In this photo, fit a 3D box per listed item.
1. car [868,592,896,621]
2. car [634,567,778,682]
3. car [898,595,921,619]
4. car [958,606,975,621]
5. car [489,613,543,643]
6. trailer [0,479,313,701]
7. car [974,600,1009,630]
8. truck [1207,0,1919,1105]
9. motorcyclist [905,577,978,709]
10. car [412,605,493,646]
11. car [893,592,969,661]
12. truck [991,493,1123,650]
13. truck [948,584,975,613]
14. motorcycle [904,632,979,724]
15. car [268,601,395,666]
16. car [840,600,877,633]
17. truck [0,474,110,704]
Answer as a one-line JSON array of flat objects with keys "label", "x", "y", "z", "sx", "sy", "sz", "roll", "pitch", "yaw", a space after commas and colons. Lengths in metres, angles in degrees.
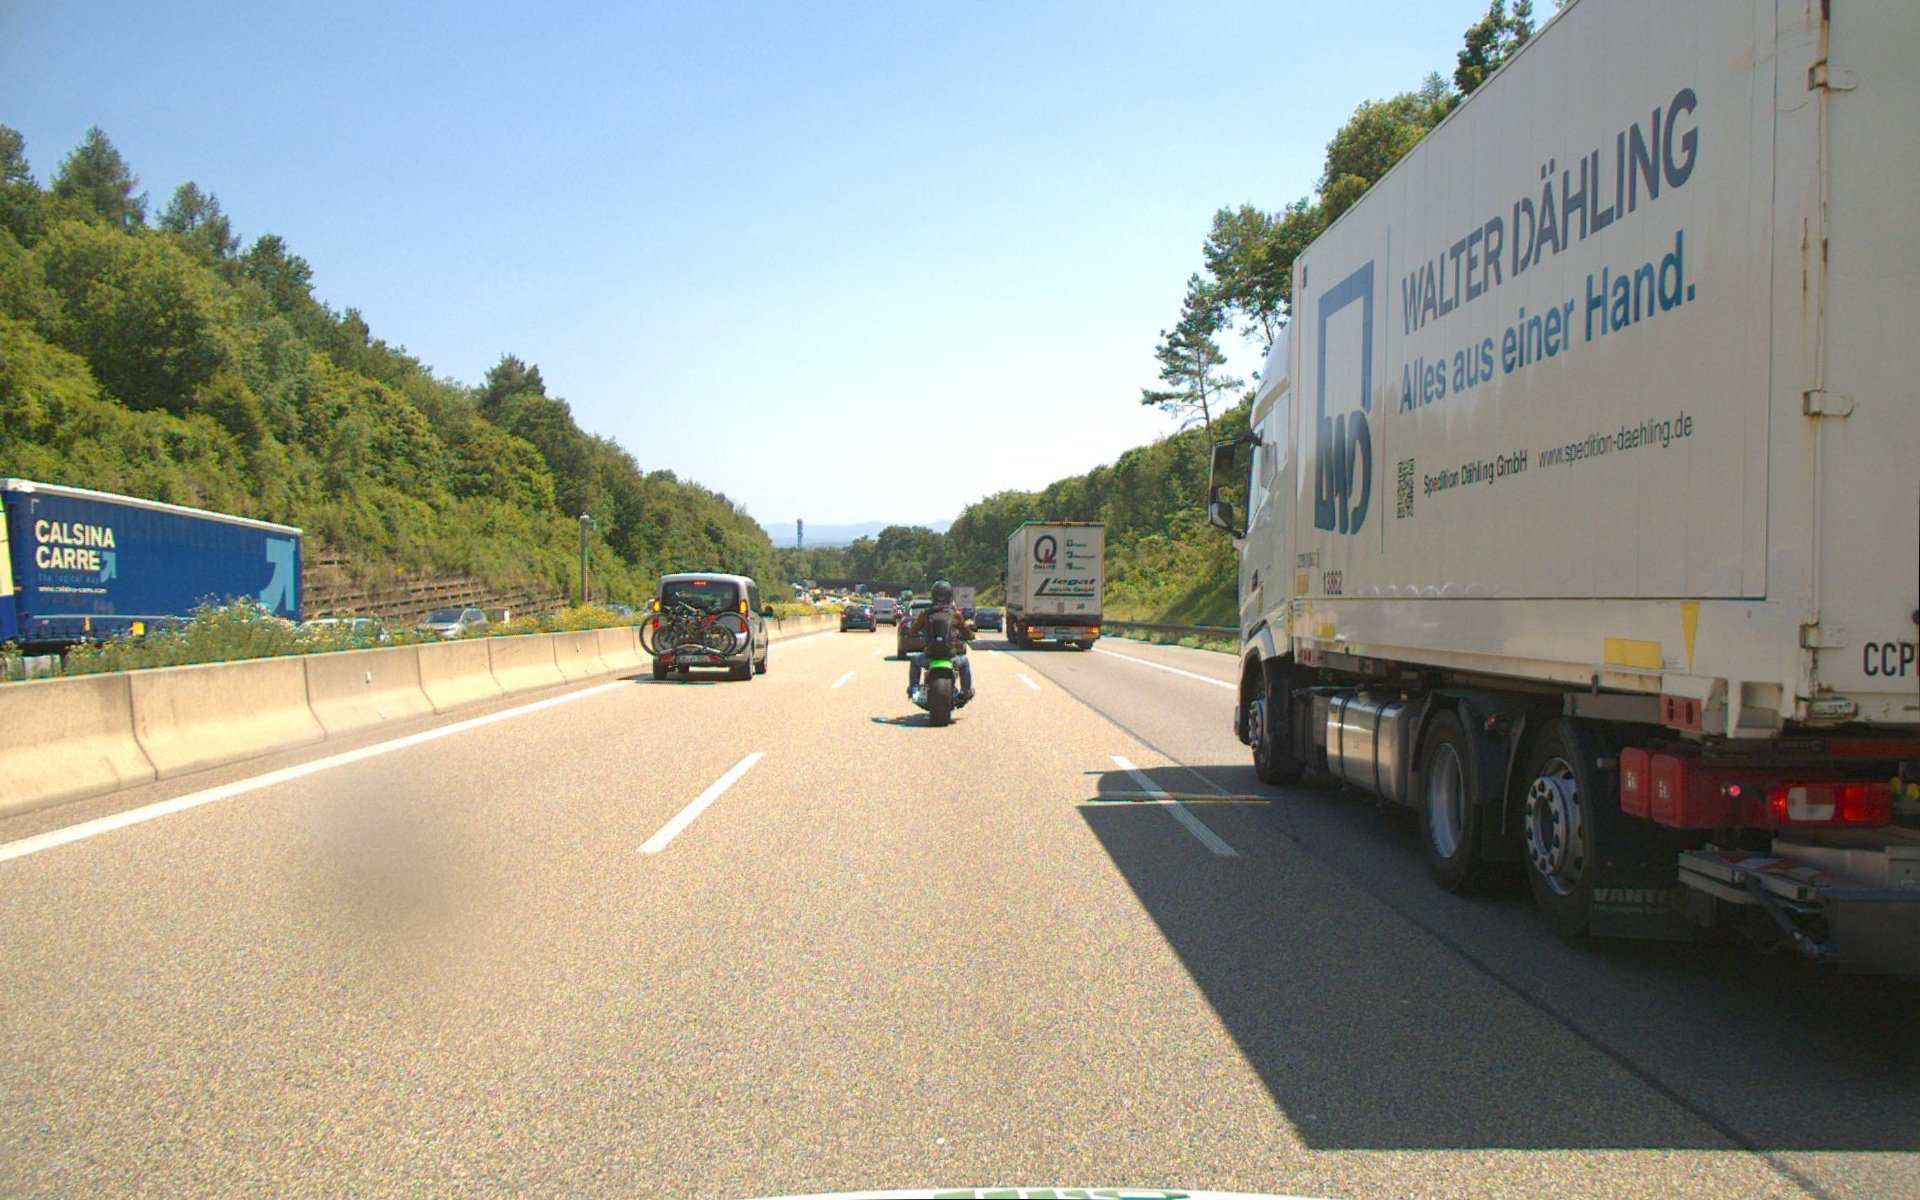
[{"label": "car", "x": -5.327, "y": 0.421, "z": 112.933, "sx": 1.794, "sy": 1.842, "sz": 4.119, "roll": 1, "pitch": 1, "yaw": -1}, {"label": "car", "x": -4.517, "y": 0.399, "z": 30.216, "sx": 1.860, "sy": 1.880, "sz": 5.481, "roll": 1, "pitch": 0, "yaw": -1}, {"label": "car", "x": -4.010, "y": 0.544, "z": 132.456, "sx": 1.794, "sy": 1.842, "sz": 4.119, "roll": 1, "pitch": 1, "yaw": -1}, {"label": "car", "x": 0.682, "y": 1.523, "z": 185.702, "sx": 1.794, "sy": 1.585, "sz": 4.119, "roll": 1, "pitch": 1, "yaw": -1}, {"label": "car", "x": -24.133, "y": 1.505, "z": 90.074, "sx": 1.898, "sy": 1.548, "sz": 4.202, "roll": -1, "pitch": 0, "yaw": -1}, {"label": "trailer", "x": -18.642, "y": -0.263, "z": 37.592, "sx": 2.626, "sy": 4.085, "sz": 14.185, "roll": 0, "pitch": 1, "yaw": -1}, {"label": "car", "x": 1.766, "y": 0.828, "z": 93.438, "sx": 1.794, "sy": 1.585, "sz": 4.119, "roll": 1, "pitch": 1, "yaw": -1}, {"label": "truck", "x": 3.775, "y": -0.627, "z": 10.168, "sx": 2.626, "sy": 4.130, "sz": 10.623, "roll": 1, "pitch": 1, "yaw": -1}, {"label": "motorcyclist", "x": -0.218, "y": 0.506, "z": 19.891, "sx": 0.838, "sy": 1.541, "sz": 0.914, "roll": 1, "pitch": 0, "yaw": 0}, {"label": "car", "x": -19.676, "y": 0.966, "z": 64.300, "sx": 1.624, "sy": 1.478, "sz": 4.922, "roll": 0, "pitch": 1, "yaw": 0}, {"label": "car", "x": -0.753, "y": 0.636, "z": 42.328, "sx": 1.808, "sy": 1.584, "sz": 4.438, "roll": 1, "pitch": 1, "yaw": -1}, {"label": "truck", "x": 3.211, "y": -0.978, "z": 60.770, "sx": 3.315, "sy": 4.800, "sz": 17.705, "roll": 2, "pitch": 1, "yaw": -1}, {"label": "truck", "x": 0.156, "y": -0.260, "z": 208.504, "sx": 3.005, "sy": 3.404, "sz": 9.650, "roll": 2, "pitch": 1, "yaw": -1}, {"label": "motorcycle", "x": -0.218, "y": 0.916, "z": 19.992, "sx": 0.844, "sy": 0.999, "sz": 2.130, "roll": 1, "pitch": 0, "yaw": 0}, {"label": "car", "x": -15.128, "y": 0.772, "z": 40.010, "sx": 1.624, "sy": 1.400, "sz": 3.711, "roll": 2, "pitch": 1, "yaw": 0}, {"label": "car", "x": -5.302, "y": 0.845, "z": 86.890, "sx": 1.722, "sy": 1.570, "sz": 4.394, "roll": 1, "pitch": 1, "yaw": -1}, {"label": "truck", "x": -18.487, "y": -0.210, "z": 30.549, "sx": 2.626, "sy": 4.101, "sz": 5.929, "roll": 0, "pitch": 0, "yaw": -1}]
